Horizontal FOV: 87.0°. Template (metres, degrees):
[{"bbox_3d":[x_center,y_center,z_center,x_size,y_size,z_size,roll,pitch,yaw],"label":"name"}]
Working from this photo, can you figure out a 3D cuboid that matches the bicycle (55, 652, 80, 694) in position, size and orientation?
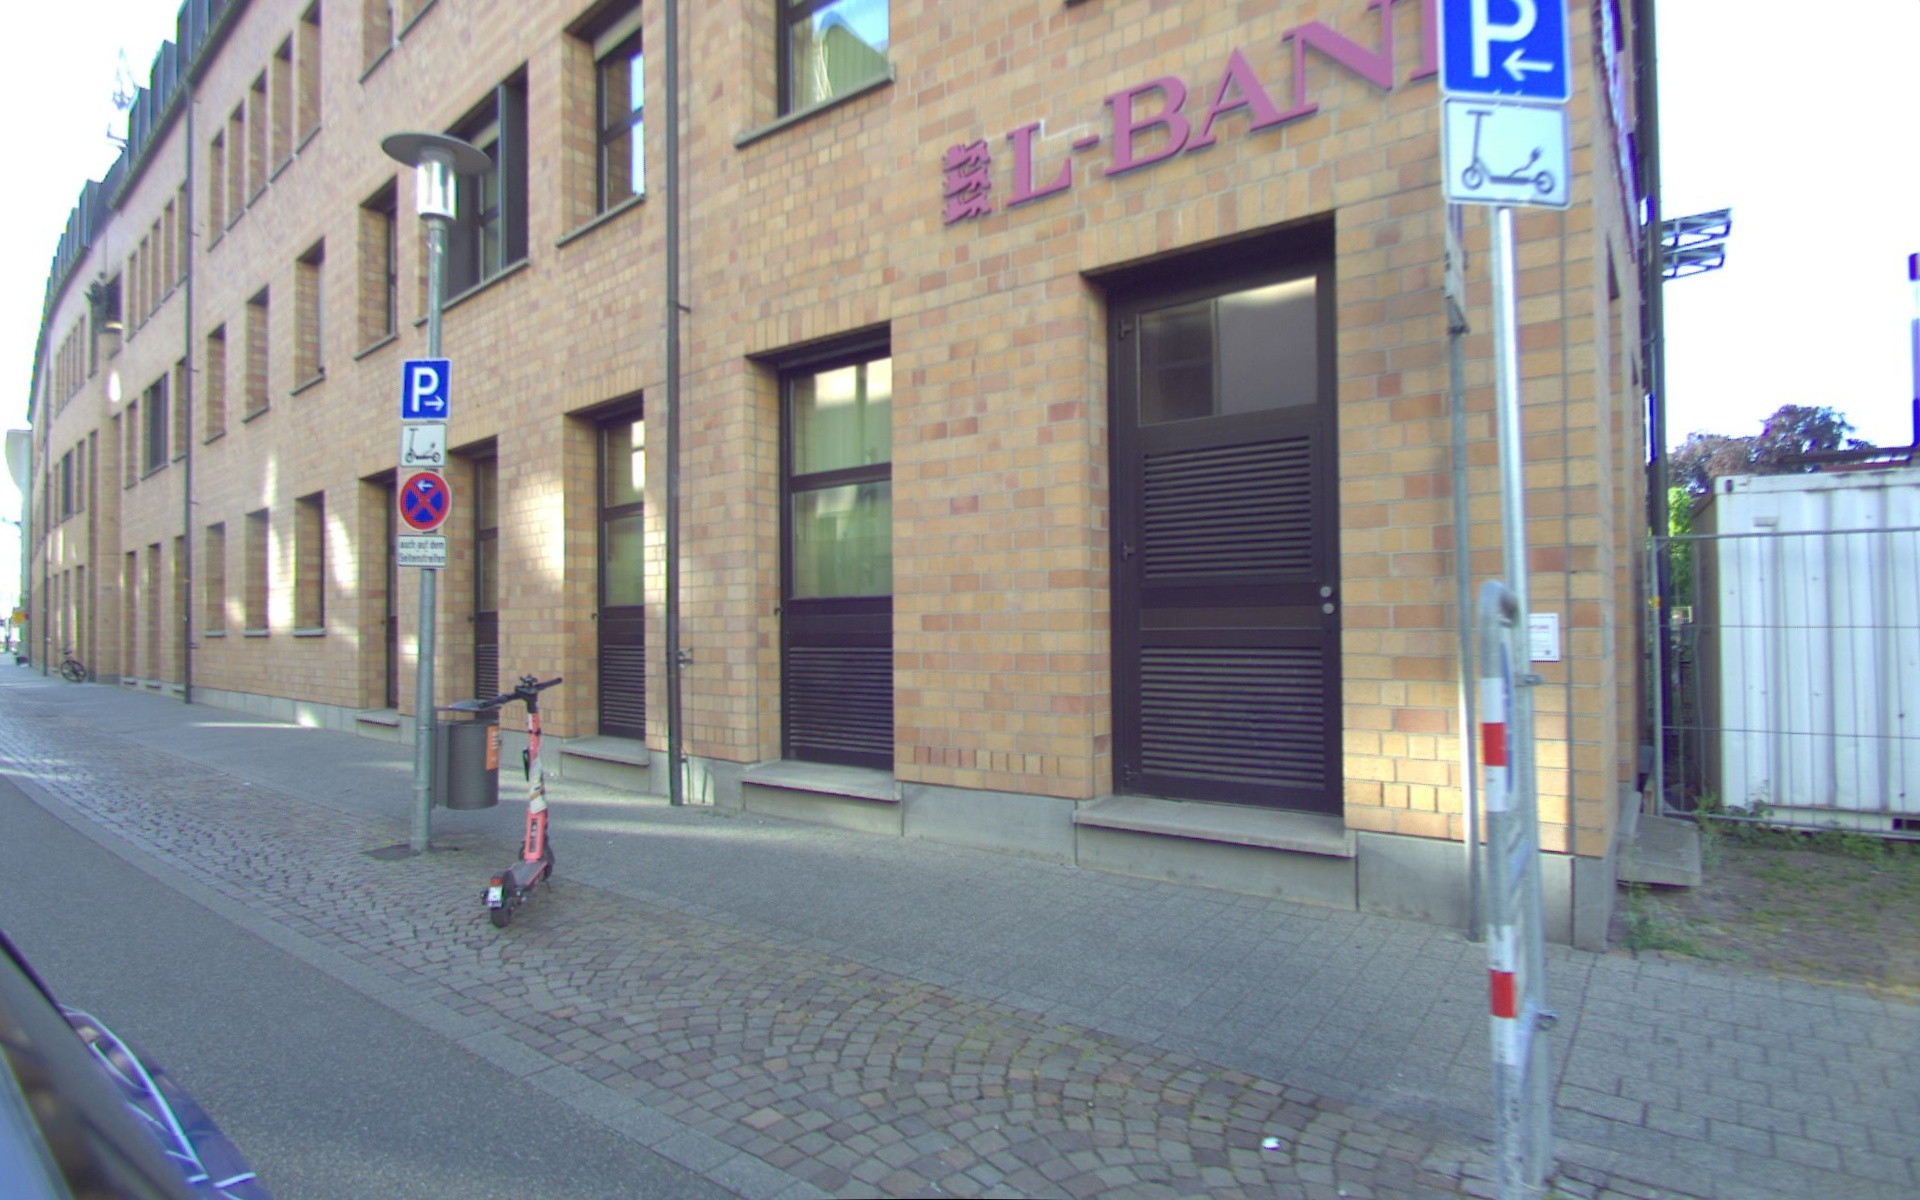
[{"bbox_3d":[-25.692,2.081,29.124,1.691,1.153,0.425,-3,-2,45],"label":"bicycle"}]

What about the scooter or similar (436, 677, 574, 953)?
[{"bbox_3d":[-2.350,1.033,5.339,0.460,1.234,1.303,1,-4,-16],"label":"scooter or similar"}]
